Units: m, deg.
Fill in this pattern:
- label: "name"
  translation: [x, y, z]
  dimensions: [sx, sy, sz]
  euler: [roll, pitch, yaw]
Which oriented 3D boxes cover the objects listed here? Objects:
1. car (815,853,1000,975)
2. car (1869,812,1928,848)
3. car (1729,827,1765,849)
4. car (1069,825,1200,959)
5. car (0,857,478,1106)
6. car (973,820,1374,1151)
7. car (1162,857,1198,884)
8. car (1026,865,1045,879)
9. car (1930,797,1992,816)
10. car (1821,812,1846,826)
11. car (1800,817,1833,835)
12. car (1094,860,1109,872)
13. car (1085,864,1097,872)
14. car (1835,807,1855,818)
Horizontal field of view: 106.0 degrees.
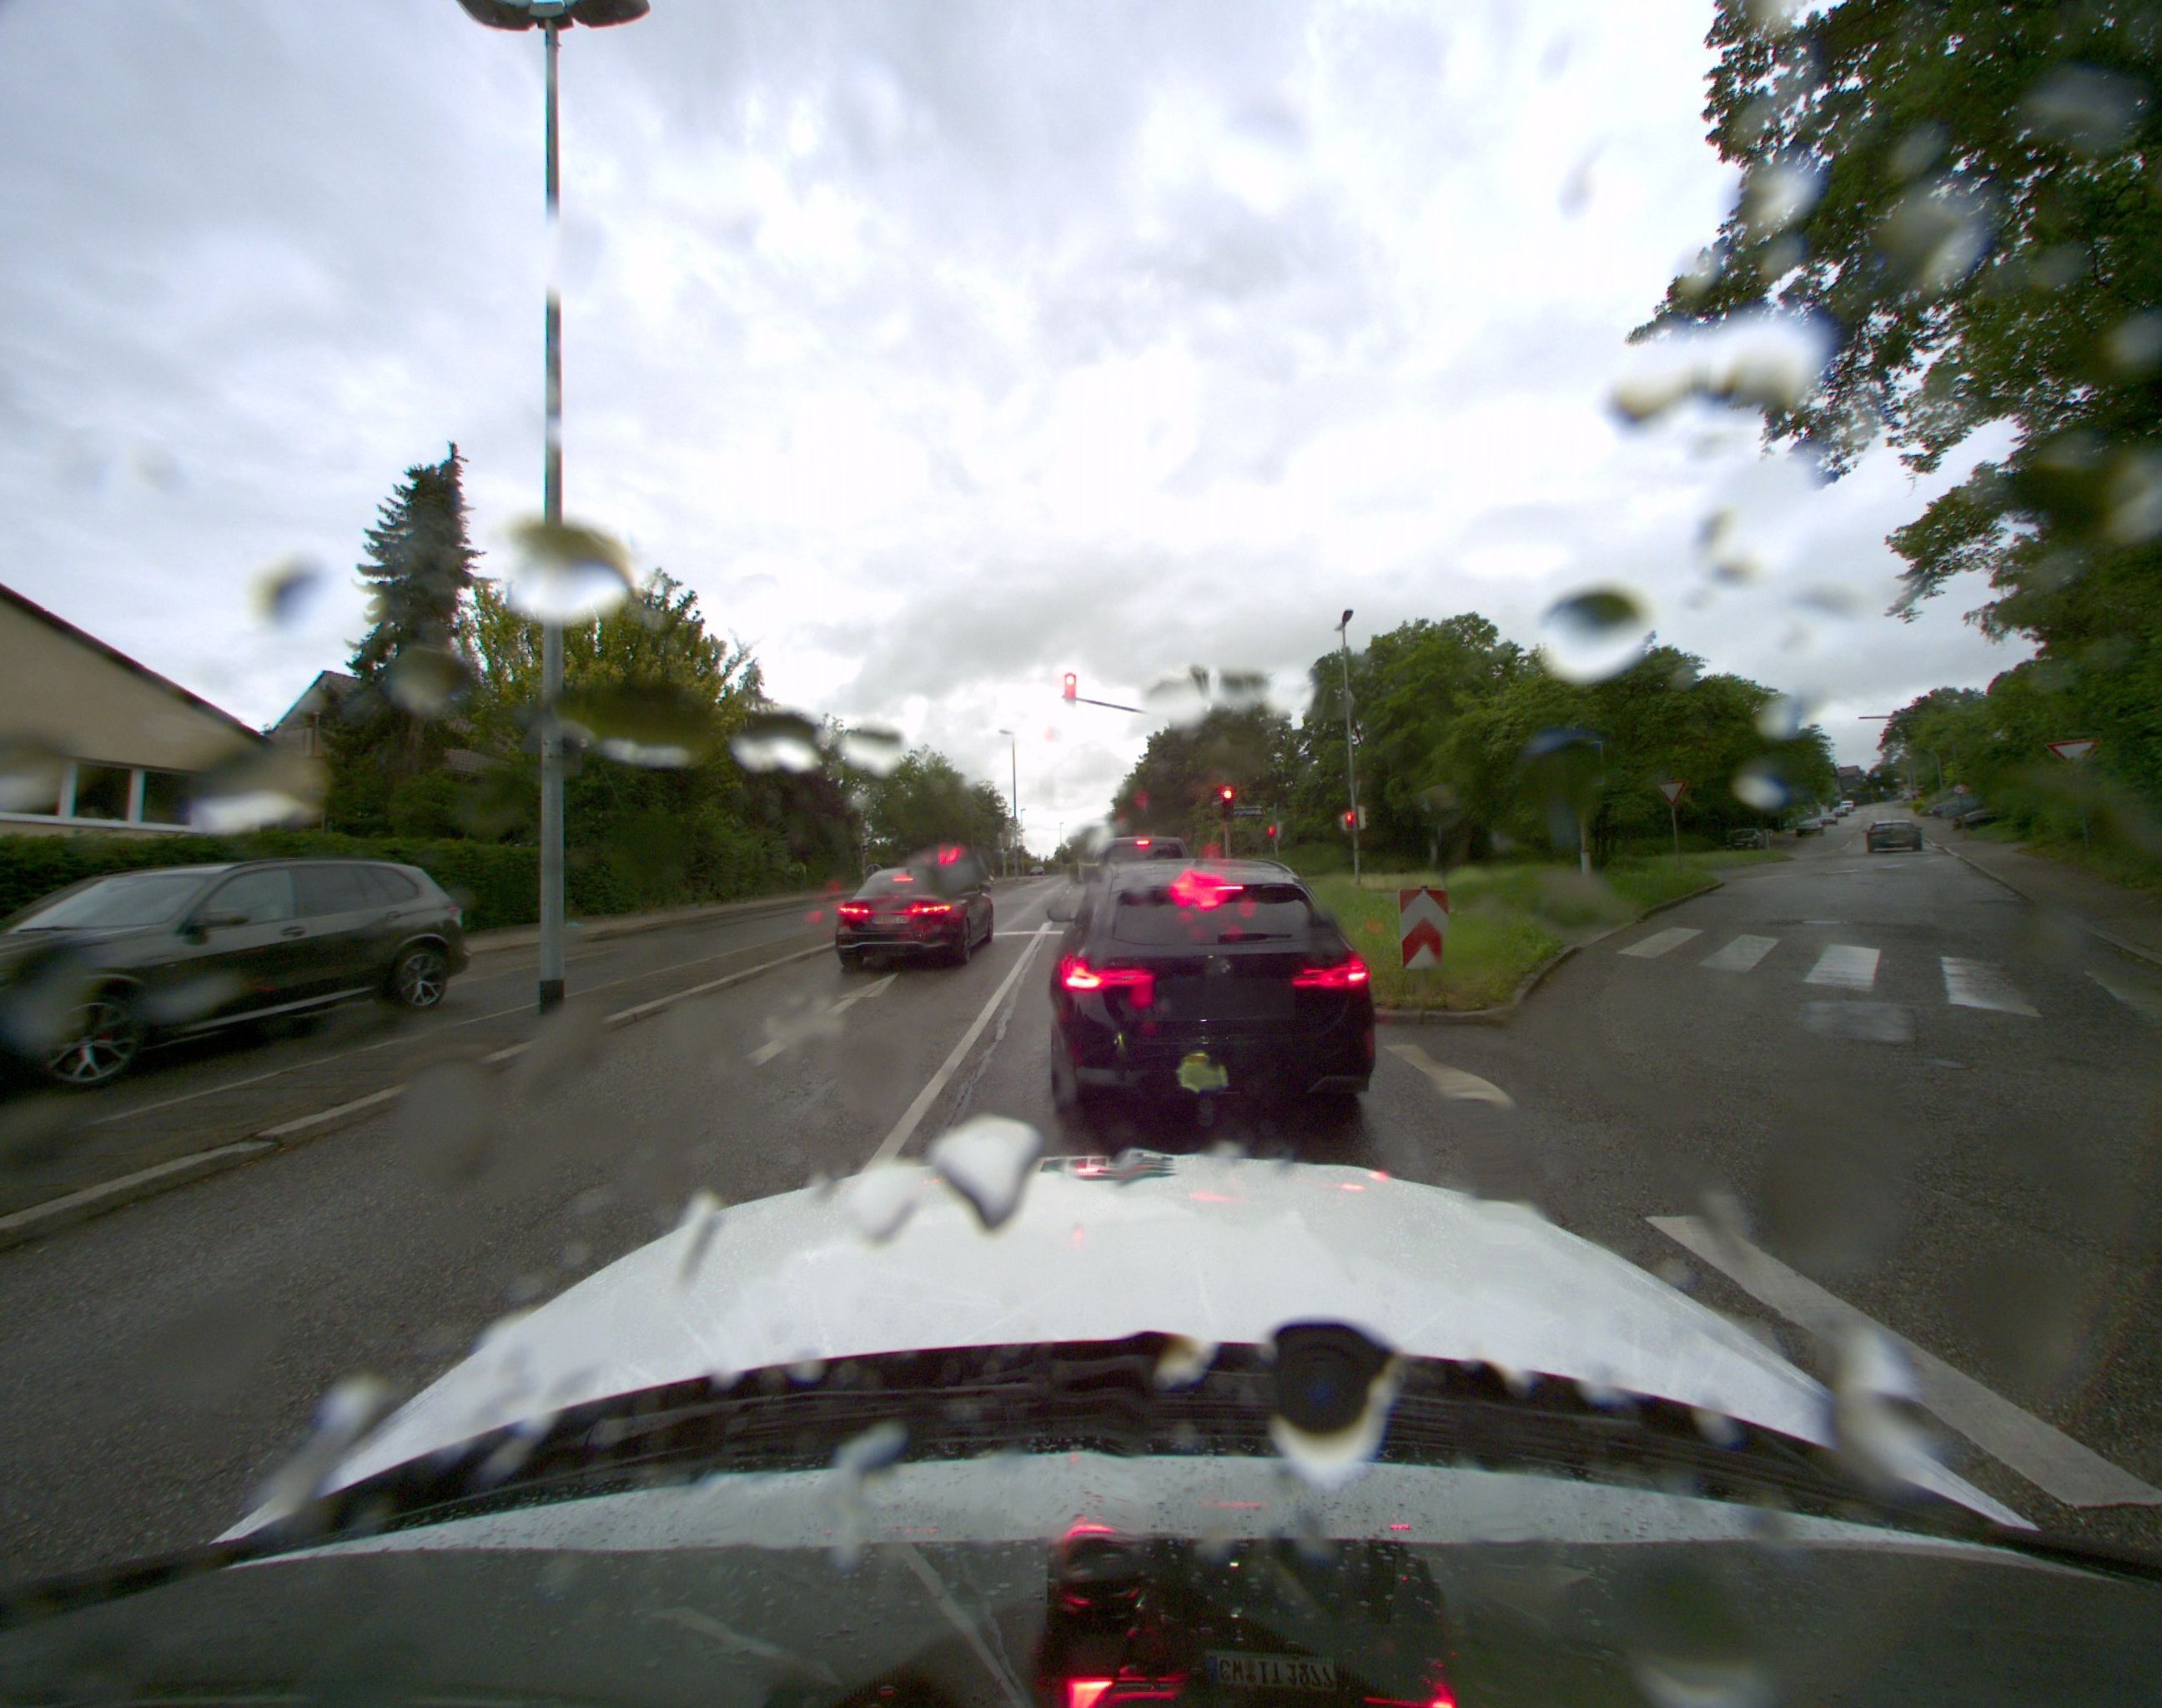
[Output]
- label: "car"
  translation: [-2.562, 0.843, 13.210]
  dimensions: [1.987, 1.527, 4.326]
  euler: [-4, -1, 0]
- label: "car"
  translation: [38.084, -1.124, 37.928]
  dimensions: [4.187, 1.442, 1.795]
  euler: [-4, 1, -44]
- label: "car"
  translation: [46.029, -1.140, 56.276]
  dimensions: [1.655, 1.370, 3.512]
  euler: [-3, 0, 43]
- label: "car"
  translation: [0.830, 0.561, 13.465]
  dimensions: [1.811, 1.868, 3.954]
  euler: [-1, -1, 2]
- label: "car"
  translation: [-8.462, 0.944, 7.586]
  dimensions: [1.986, 1.717, 4.719]
  euler: [-3, 0, 2]
- label: "car"
  translation: [0.642, 0.674, 6.209]
  dimensions: [1.889, 1.551, 4.621]
  euler: [-1, -1, 5]
- label: "car"
  translation: [6.338, 1.021, 52.421]
  dimensions: [1.866, 1.543, 3.954]
  euler: [-4, -1, 2]
- label: "car"
  translation: [-6.660, 2.602, 119.263]
  dimensions: [1.983, 1.826, 4.007]
  euler: [-4, -1, 6]
- label: "car"
  translation: [87.625, -4.709, 81.160]
  dimensions: [3.949, 1.574, 1.785]
  euler: [-5, -1, 42]
- label: "car"
  translation: [88.220, -4.062, 95.516]
  dimensions: [1.971, 1.446, 4.321]
  euler: [-2, -1, 40]
- label: "car"
  translation: [66.285, -2.531, 73.389]
  dimensions: [4.318, 1.450, 1.881]
  euler: [0, -1, -44]
- label: "car"
  translation: [2.638, 1.529, 102.900]
  dimensions: [1.691, 1.427, 3.515]
  euler: [-4, -1, 2]
- label: "car"
  translation: [2.204, 3.112, 180.415]
  dimensions: [1.981, 1.611, 3.682]
  euler: [-4, -1, 10]
- label: "car"
  translation: [114.516, -6.231, 122.037]
  dimensions: [1.880, 1.397, 4.193]
  euler: [-2, -1, 40]
